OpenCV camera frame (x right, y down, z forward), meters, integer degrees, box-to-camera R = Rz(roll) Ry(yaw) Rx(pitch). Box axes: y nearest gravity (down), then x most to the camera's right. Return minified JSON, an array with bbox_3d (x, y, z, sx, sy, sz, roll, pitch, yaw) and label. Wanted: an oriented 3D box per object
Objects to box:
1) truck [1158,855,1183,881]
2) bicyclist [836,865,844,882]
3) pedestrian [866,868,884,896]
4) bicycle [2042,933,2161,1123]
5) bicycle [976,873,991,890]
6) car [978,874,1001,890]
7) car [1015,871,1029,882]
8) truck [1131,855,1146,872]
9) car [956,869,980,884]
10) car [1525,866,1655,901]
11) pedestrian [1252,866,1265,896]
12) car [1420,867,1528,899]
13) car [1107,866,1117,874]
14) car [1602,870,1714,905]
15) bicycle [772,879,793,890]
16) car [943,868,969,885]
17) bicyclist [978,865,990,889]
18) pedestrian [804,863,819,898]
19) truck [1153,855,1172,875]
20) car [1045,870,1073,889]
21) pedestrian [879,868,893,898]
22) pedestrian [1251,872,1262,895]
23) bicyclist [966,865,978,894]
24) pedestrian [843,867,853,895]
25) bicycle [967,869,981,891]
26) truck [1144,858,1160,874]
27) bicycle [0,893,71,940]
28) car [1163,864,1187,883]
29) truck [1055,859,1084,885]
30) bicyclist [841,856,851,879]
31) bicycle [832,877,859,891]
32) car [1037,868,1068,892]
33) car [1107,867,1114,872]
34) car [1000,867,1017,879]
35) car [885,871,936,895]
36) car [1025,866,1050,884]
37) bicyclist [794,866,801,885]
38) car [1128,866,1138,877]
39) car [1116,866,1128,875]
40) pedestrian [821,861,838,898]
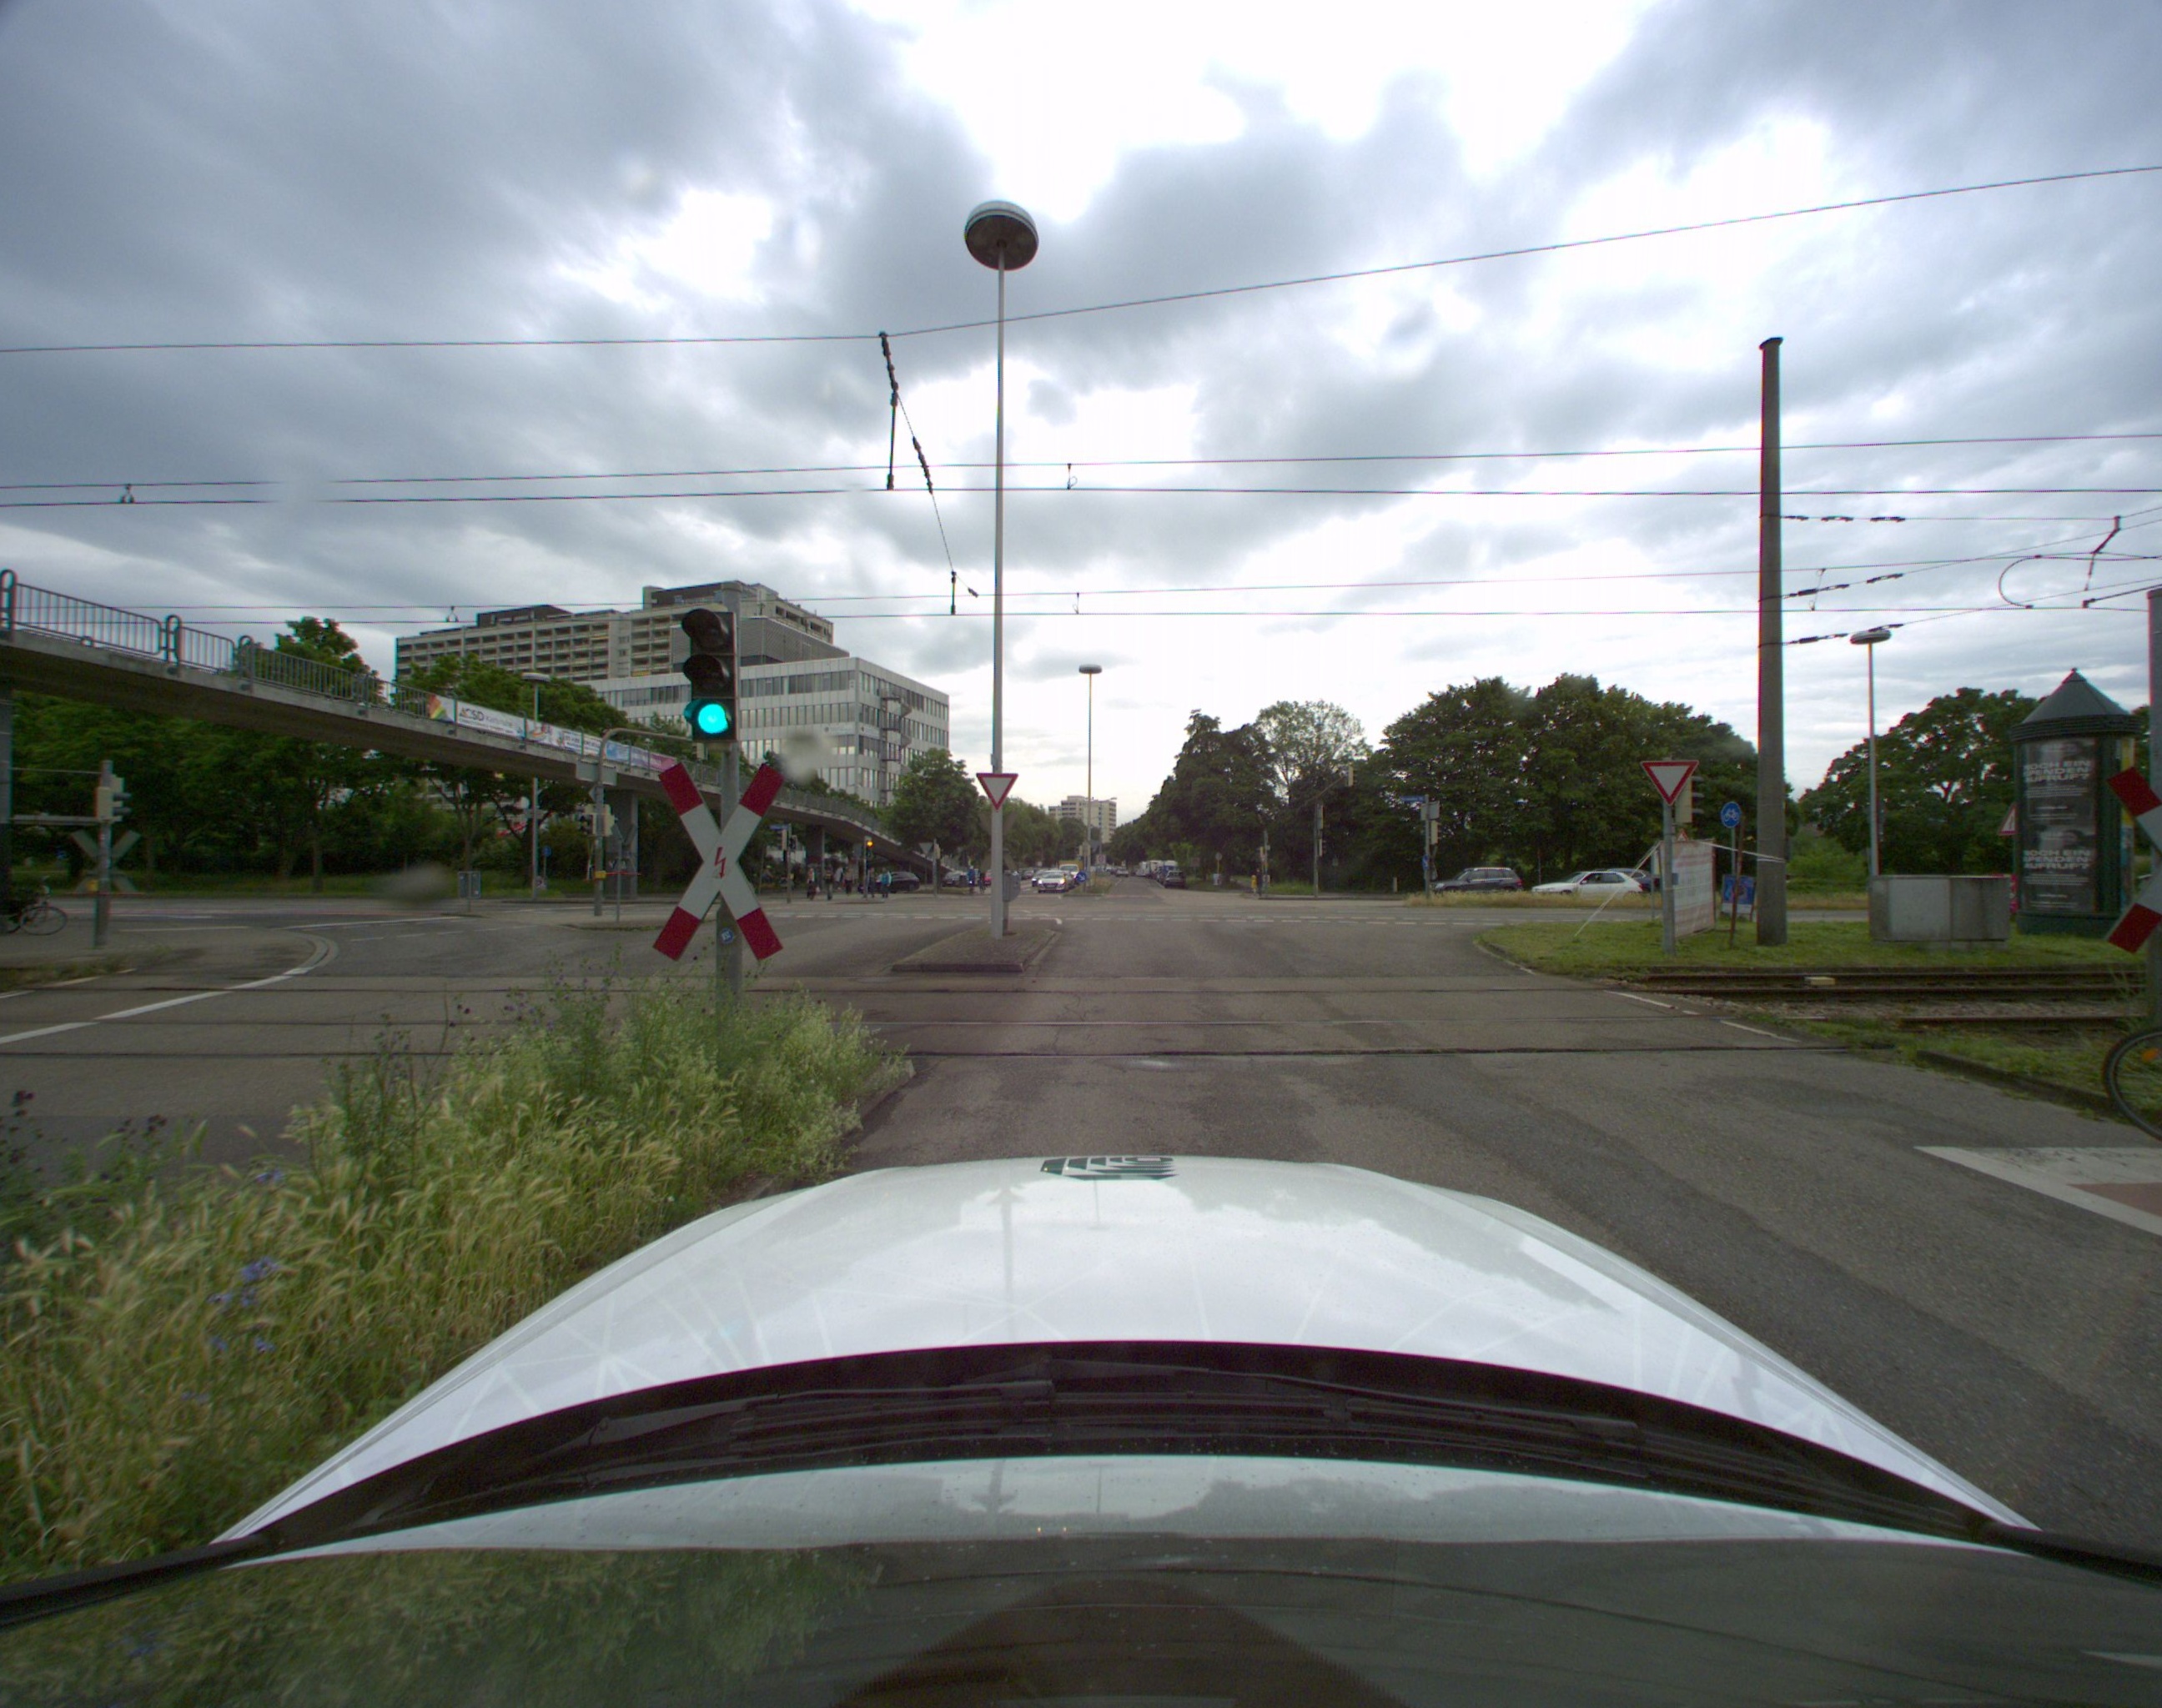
[{"bbox_3d":[9.736,1.558,89.232,2.166,2.656,6.247,-1,-1,1],"label":"truck"},{"bbox_3d":[-16.608,1.352,56.098,0.403,1.181,0.377,0,0,3],"label":"bicyclist"},{"bbox_3d":[-11.118,1.489,43.999,0.917,1.511,0.402,0,-1,-10],"label":"pedestrian"},{"bbox_3d":[5.996,0.947,3.913,0.381,0.980,2.030,0,-1,2],"label":"bicycle"},{"bbox_3d":[-6.525,1.858,54.612,0.724,1.101,2.265,0,-1,1],"label":"bicycle"},{"bbox_3d":[-8.642,2.627,76.863,1.505,1.390,3.536,0,-1,4],"label":"car"},{"bbox_3d":[-8.855,3.309,122.124,1.665,1.552,4.002,0,-1,2],"label":"car"},{"bbox_3d":[9.969,1.688,141.472,1.988,3.009,5.767,0,-1,-1],"label":"truck"},{"bbox_3d":[-11.367,2.261,82.017,1.665,1.387,3.897,0,-1,2],"label":"car"},{"bbox_3d":[20.240,1.145,32.487,4.120,1.357,1.648,0,-1,2],"label":"car"},{"bbox_3d":[10.371,1.551,47.652,0.654,1.750,0.459,0,-1,1],"label":"pedestrian"},{"bbox_3d":[19.272,1.395,40.047,4.447,1.504,1.847,0,-1,2],"label":"car"},{"bbox_3d":[6.344,3.290,166.060,2.013,1.505,4.001,0,-1,1],"label":"car"},{"bbox_3d":[27.371,1.574,38.727,3.974,1.618,1.878,0,-1,0],"label":"car"},{"bbox_3d":[-20.555,2.113,56.132,1.303,0.692,0.287,1,-1,-35],"label":"bicycle"},{"bbox_3d":[-11.682,2.118,76.527,1.665,1.552,3.894,0,-1,2],"label":"car"},{"bbox_3d":[-6.509,1.548,54.544,0.676,1.594,0.695,0,-2,1],"label":"bicyclist"},{"bbox_3d":[-13.285,1.291,40.162,0.619,1.691,0.403,0,-1,-13],"label":"pedestrian"},{"bbox_3d":[11.802,1.624,118.559,1.988,2.838,5.726,0,-1,-2],"label":"truck"},{"bbox_3d":[-1.632,1.922,62.765,1.890,1.420,4.737,0,-1,2],"label":"car"},{"bbox_3d":[-10.481,1.569,43.802,0.685,1.605,0.487,0,-1,-3],"label":"pedestrian"},{"bbox_3d":[10.389,1.752,48.291,0.525,1.342,0.525,0,-1,1],"label":"pedestrian"},{"bbox_3d":[-6.659,1.559,49.887,0.642,1.769,0.647,0,-1,1],"label":"bicyclist"},{"bbox_3d":[-13.598,1.565,47.541,0.580,1.579,0.777,0,-1,-17],"label":"pedestrian"},{"bbox_3d":[-6.613,1.600,50.404,0.541,1.267,2.111,0,-1,1],"label":"bicycle"},{"bbox_3d":[11.332,1.911,130.642,1.987,2.573,5.376,0,-1,0],"label":"truck"},{"bbox_3d":[-21.807,1.283,16.778,2.017,0.921,0.375,0,-1,12],"label":"bicycle"},{"bbox_3d":[8.346,1.715,72.445,1.777,1.662,4.001,0,-1,1],"label":"car"},{"bbox_3d":[-0.966,1.534,70.510,2.147,2.199,5.843,0,-1,3],"label":"truck"},{"bbox_3d":[-17.383,1.003,60.341,0.563,1.644,0.532,0,-2,2],"label":"bicyclist"},{"bbox_3d":[-16.365,2.087,56.608,0.755,0.949,1.964,-1,-1,23],"label":"bicycle"},{"bbox_3d":[-1.826,1.673,53.475,1.782,1.519,4.326,0,-1,1],"label":"car"},{"bbox_3d":[8.770,4.478,240.511,2.013,1.505,4.001,0,-1,1],"label":"car"},{"bbox_3d":[-9.544,2.442,107.645,1.665,1.552,4.002,0,-1,2],"label":"car"},{"bbox_3d":[-11.591,1.951,55.630,1.658,1.552,4.017,0,-1,17],"label":"car"},{"bbox_3d":[-3.797,1.841,71.476,1.763,1.478,4.391,0,-1,2],"label":"car"},{"bbox_3d":[-20.165,1.524,57.952,0.385,1.303,0.275,1,-1,-35],"label":"bicyclist"},{"bbox_3d":[9.977,3.363,156.217,1.647,1.918,3.915,0,0,-2],"label":"car"},{"bbox_3d":[7.022,2.747,139.307,2.013,1.505,4.001,0,-1,1],"label":"car"},{"bbox_3d":[-12.491,1.242,40.485,0.636,1.804,0.800,0,-1,-7],"label":"pedestrian"}]
